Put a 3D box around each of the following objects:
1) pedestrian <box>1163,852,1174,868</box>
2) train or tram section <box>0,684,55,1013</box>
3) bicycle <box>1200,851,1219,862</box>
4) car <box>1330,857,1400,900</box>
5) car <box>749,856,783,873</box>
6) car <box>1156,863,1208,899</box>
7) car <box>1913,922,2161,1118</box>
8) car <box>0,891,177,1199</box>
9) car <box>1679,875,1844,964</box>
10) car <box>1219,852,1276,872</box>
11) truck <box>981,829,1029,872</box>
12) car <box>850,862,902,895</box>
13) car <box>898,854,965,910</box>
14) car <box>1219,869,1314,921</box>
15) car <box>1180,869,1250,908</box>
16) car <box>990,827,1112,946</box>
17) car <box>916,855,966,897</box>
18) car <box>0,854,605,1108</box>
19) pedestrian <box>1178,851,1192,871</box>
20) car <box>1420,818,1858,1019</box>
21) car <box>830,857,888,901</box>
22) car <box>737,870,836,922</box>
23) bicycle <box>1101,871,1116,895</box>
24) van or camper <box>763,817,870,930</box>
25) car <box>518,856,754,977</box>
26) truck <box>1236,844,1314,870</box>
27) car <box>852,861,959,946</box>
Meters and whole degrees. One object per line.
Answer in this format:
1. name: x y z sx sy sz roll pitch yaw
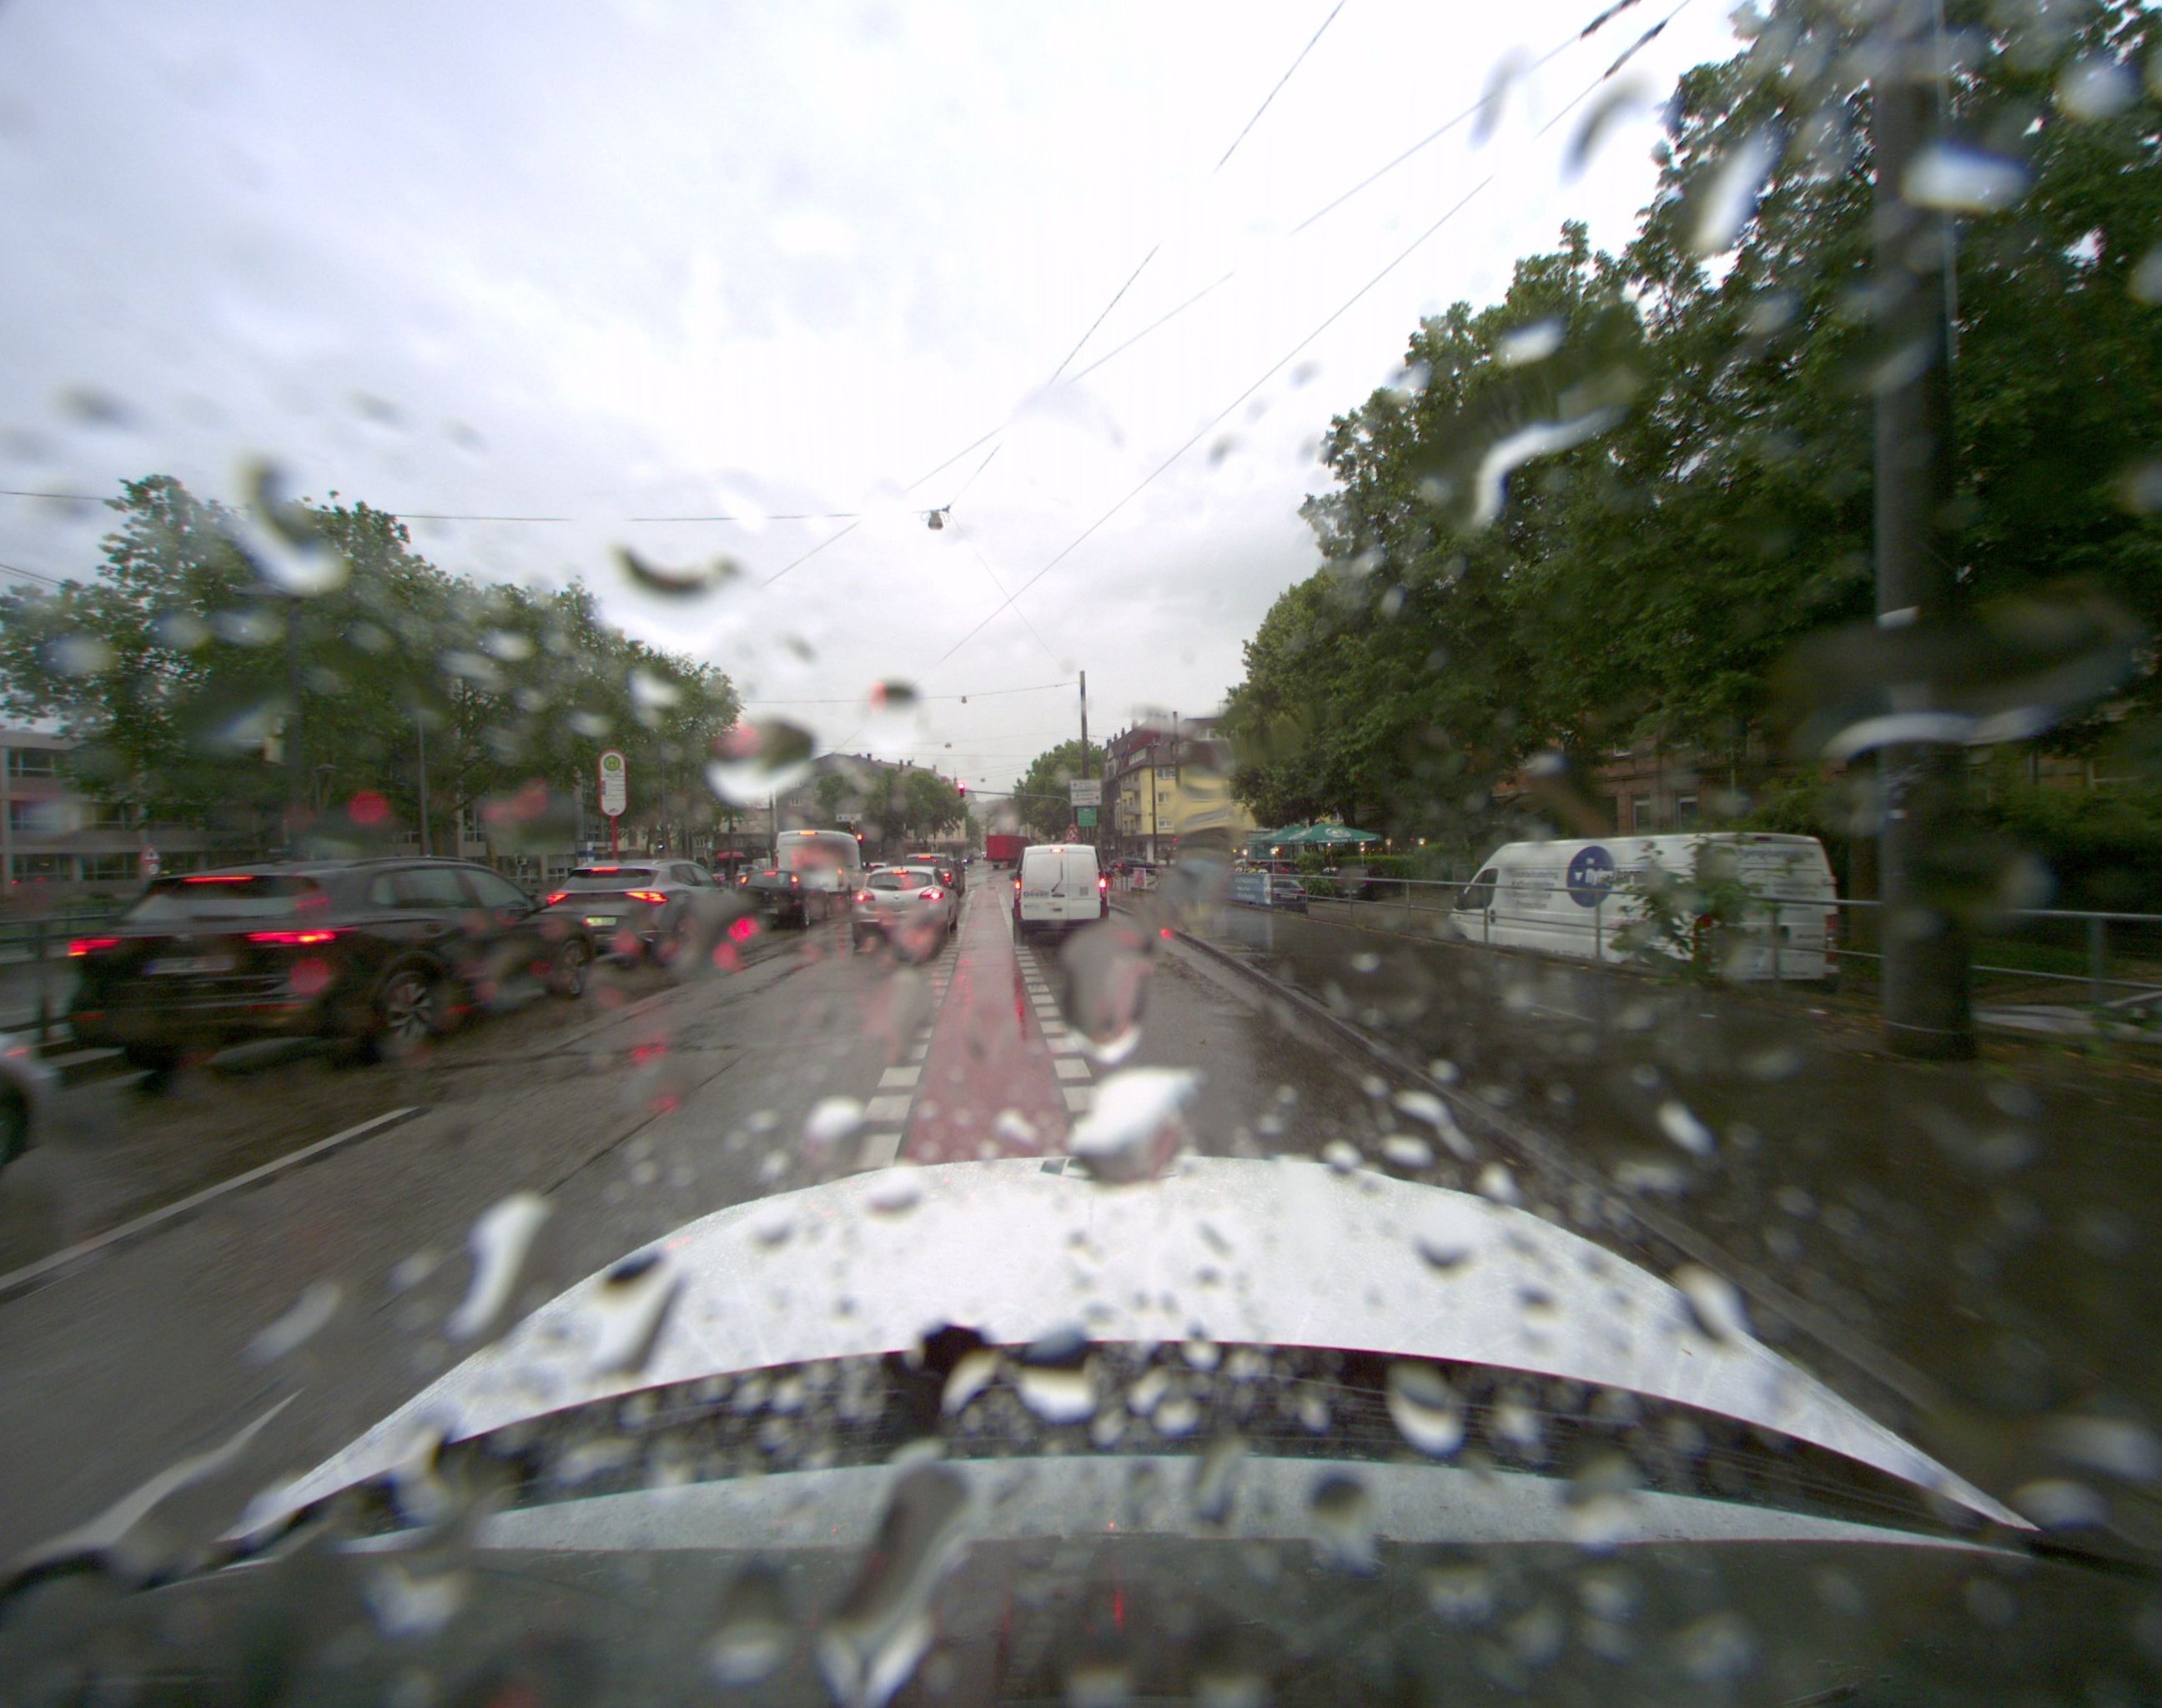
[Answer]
1. pedestrian: 8.395 0.614 78.342 0.821 1.534 0.615 0 -1 -45
2. train or tram section: -12.046 -0.129 1.001 3.538 3.413 15.463 1 -1 -8
3. bicycle: 14.412 0.296 91.403 2.089 1.261 0.533 -1 0 8
4. car: 12.266 1.014 35.043 1.974 1.713 4.025 -1 -1 32
5. car: -45.074 1.485 116.785 1.978 2.198 4.810 0 1 17
6. car: 4.625 1.210 37.672 1.702 1.442 3.519 2 0 -4
7. car: 9.244 1.326 5.769 1.967 1.353 4.369 1 -1 -10
8. car: -5.822 0.929 2.193 1.992 1.394 4.594 -2 0 -8
9. car: 14.589 1.273 17.386 4.454 1.453 1.877 -2 1 -39
10. car: 15.249 0.754 74.914 4.913 1.643 2.003 -1 -3 5
11. truck: -9.620 -0.351 105.220 3.453 5.088 15.327 0 0 5
12. car: -9.818 1.137 39.222 1.841 1.484 3.992 0 -1 -6
13. car: -5.092 0.897 28.248 2.023 1.770 4.451 0 -1 -7
14. car: 6.013 1.286 26.904 1.731 1.539 4.063 0 -1 -8
15. car: 5.222 1.313 32.227 1.701 1.400 3.964 0 -1 -6
16. car: -0.775 0.582 16.557 2.098 2.012 4.951 -1 -1 -6
17. car: -5.924 0.896 34.774 1.832 1.668 4.163 0 -1 -6
18. car: -6.497 0.850 7.616 1.992 1.620 4.308 -1 0 -8
19. pedestrian: 8.986 0.598 70.469 0.896 1.669 1.025 -1 -1 23
20. car: 8.159 0.806 13.021 2.208 2.420 6.140 1 -1 -9
21. car: -8.935 0.953 32.988 1.643 1.629 3.828 -1 0 -6
22. car: -7.253 0.983 20.415 1.462 1.118 4.077 0 0 -7
23. bicycle: 1.380 1.446 41.188 0.513 1.107 2.013 2 0 -5
24. van or camper: -8.274 0.556 26.088 2.157 3.141 5.835 -2 0 -8
25. car: -7.146 0.892 13.687 1.913 1.624 4.443 -2 0 -7
26. truck: 15.457 0.264 65.104 5.726 2.014 2.112 0 -1 0
27. car: -3.396 0.891 16.388 1.766 1.477 3.990 0 -1 -7
